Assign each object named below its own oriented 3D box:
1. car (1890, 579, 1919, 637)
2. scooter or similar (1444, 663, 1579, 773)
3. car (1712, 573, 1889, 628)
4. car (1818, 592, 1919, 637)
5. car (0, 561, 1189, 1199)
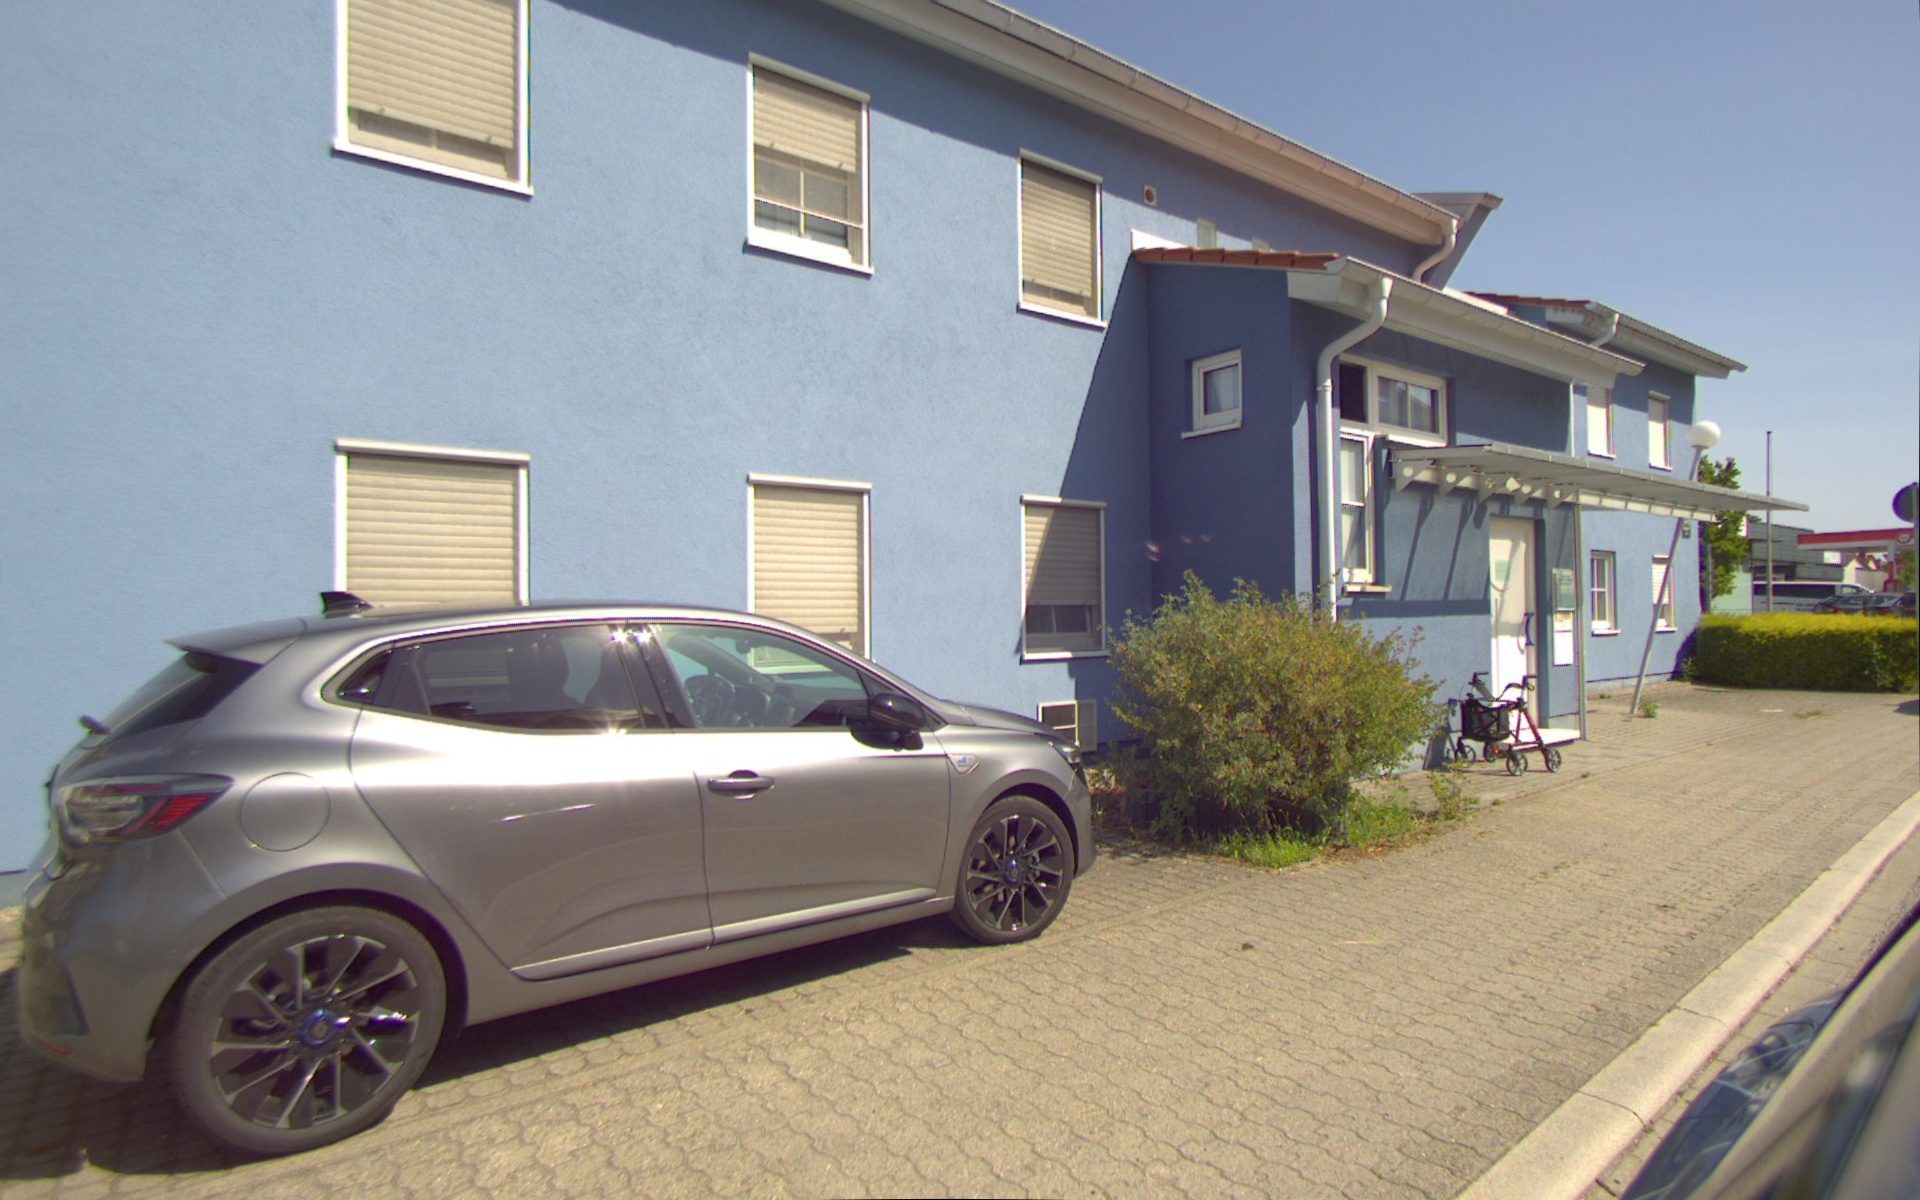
[{"bbox_3d":[29.763,0.224,29.084,4.072,1.674,1.815,0,0,26],"label":"car"},{"bbox_3d":[4.773,0.993,8.766,0.811,0.825,0.730,0,0,-34],"label":"scooter or similar"},{"bbox_3d":[33.139,0.028,40.154,5.255,2.039,2.202,0,0,37],"label":"car"},{"bbox_3d":[33.400,0.502,35.785,4.274,1.570,1.966,0,0,27],"label":"car"},{"bbox_3d":[-1.067,0.633,4.097,4.070,1.438,1.693,-1,-1,-38],"label":"car"}]
